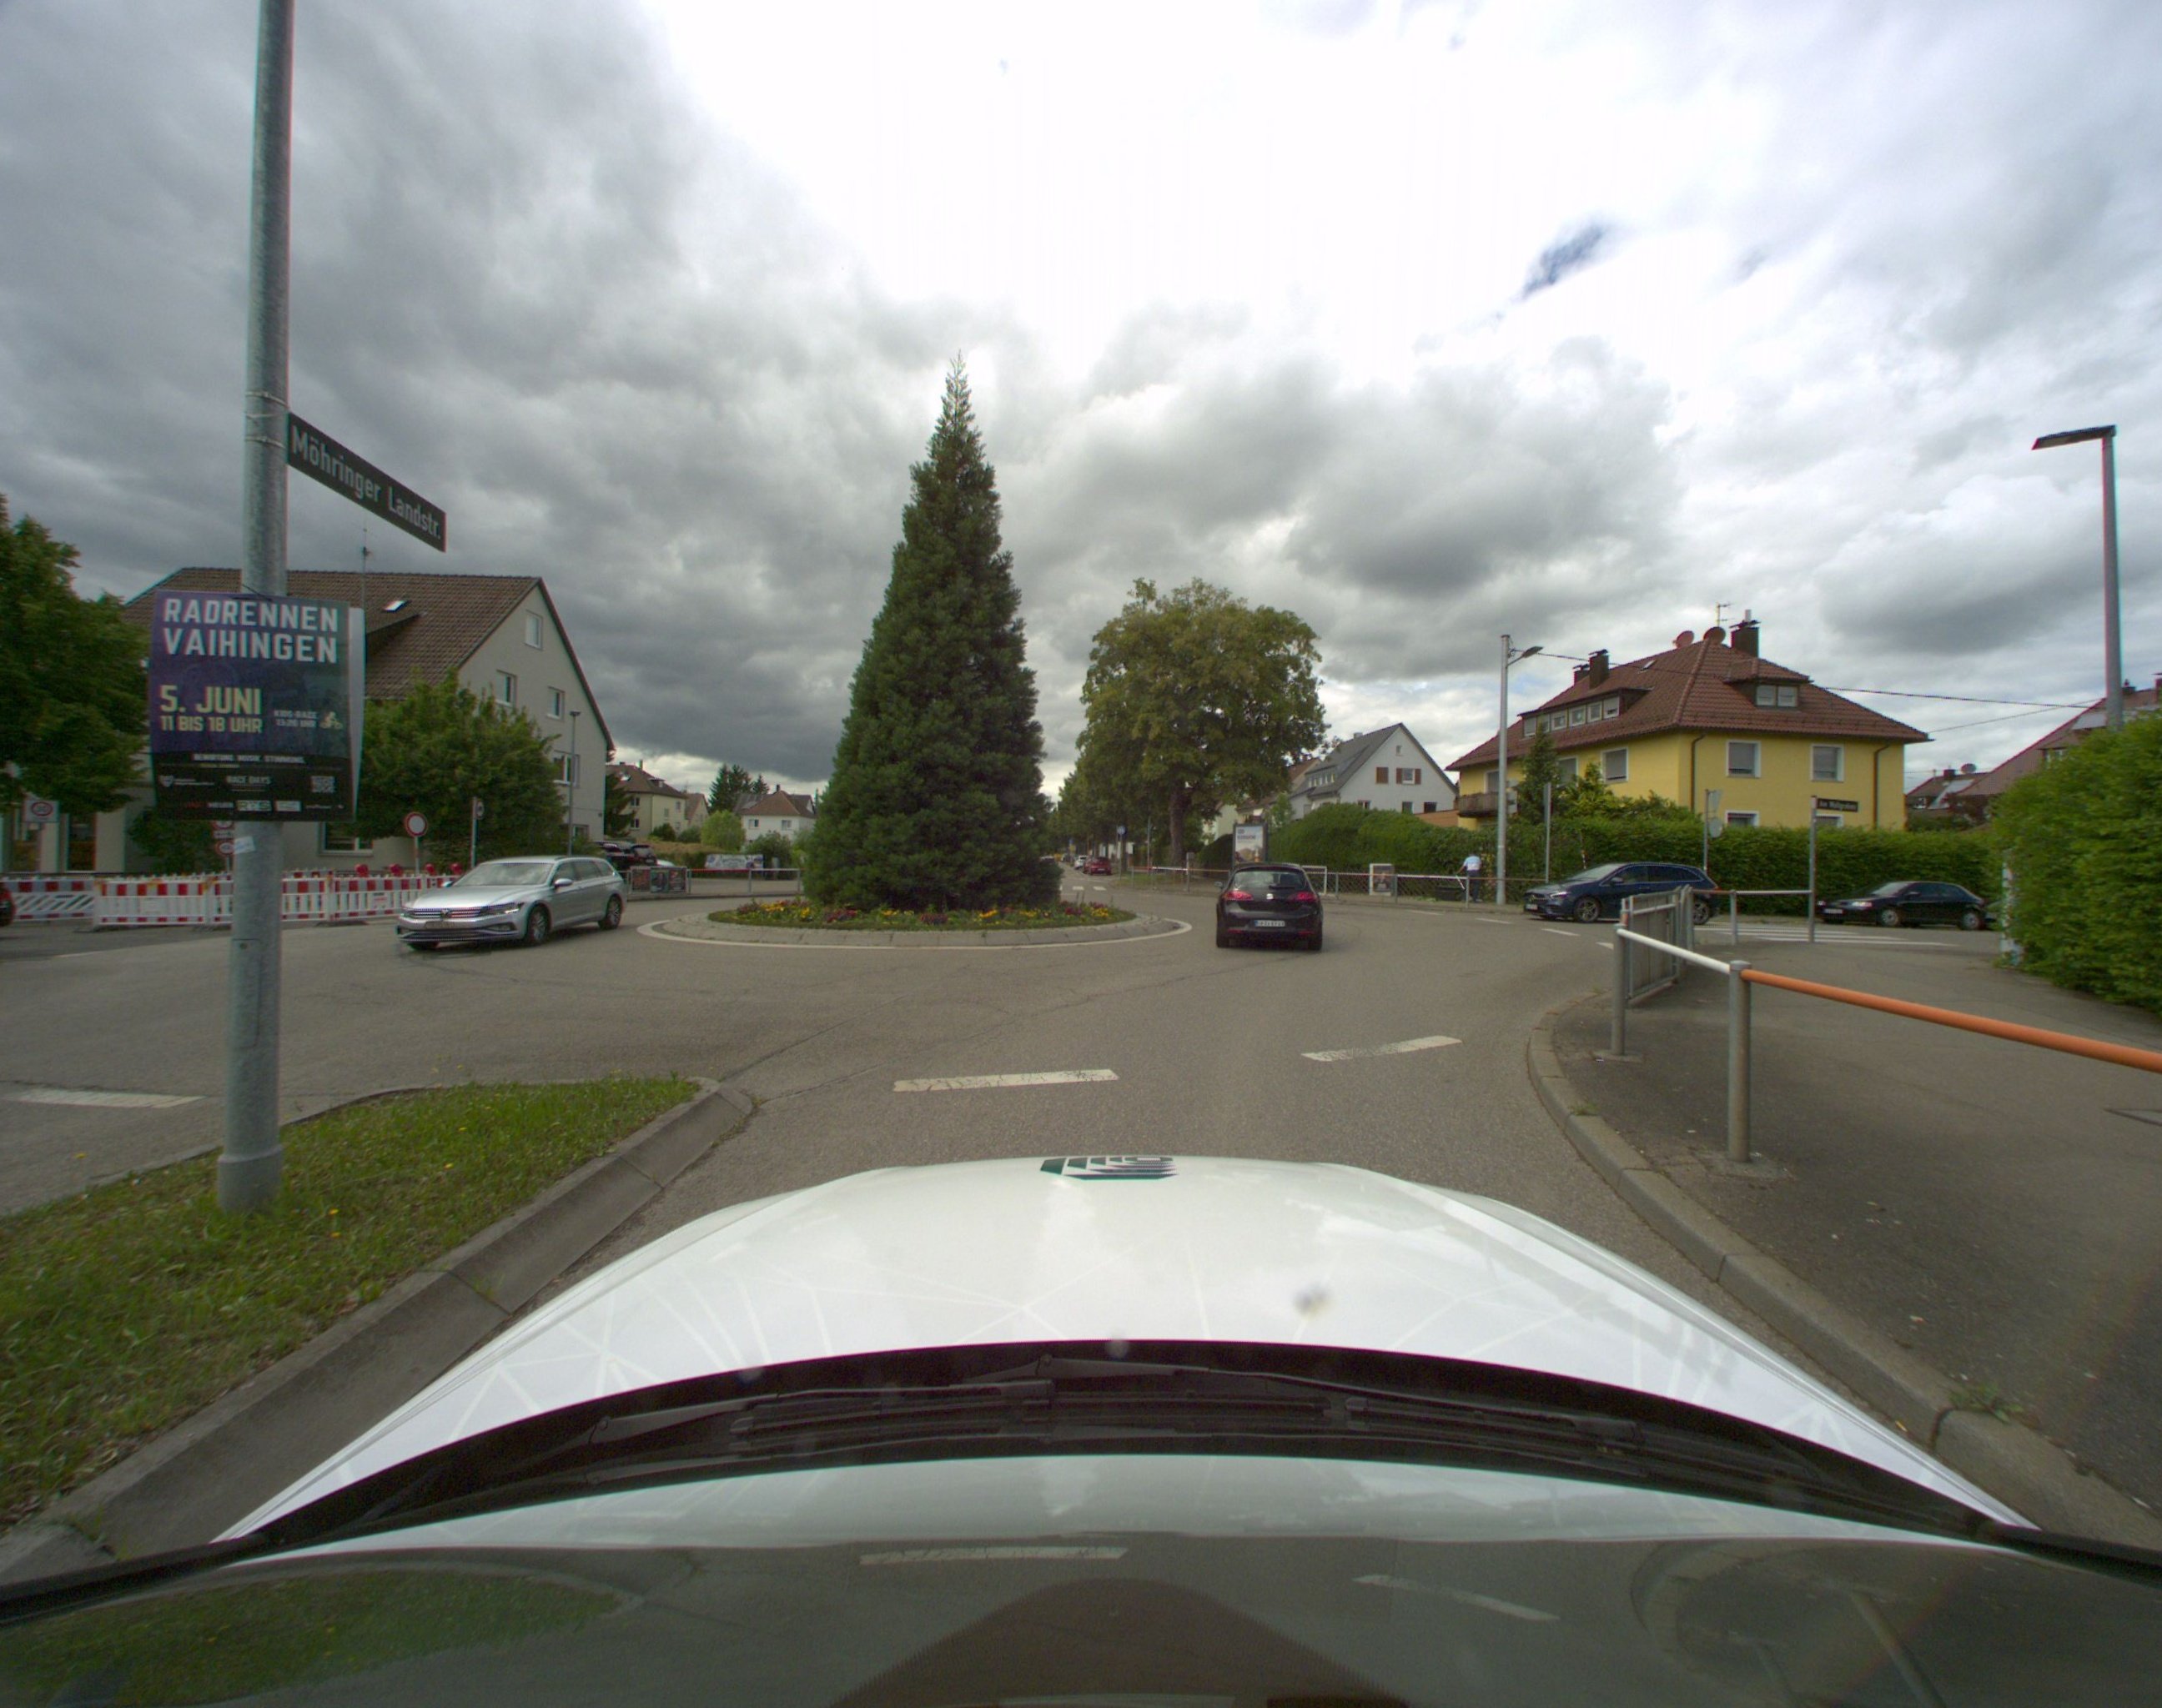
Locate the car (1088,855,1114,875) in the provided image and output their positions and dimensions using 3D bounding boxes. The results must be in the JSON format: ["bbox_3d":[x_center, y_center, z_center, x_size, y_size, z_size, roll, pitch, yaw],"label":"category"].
[{"bbox_3d":[1.538,0.832,63.657,1.474,1.489,3.371,0,0,-9],"label":"car"}]

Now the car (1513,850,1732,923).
[{"bbox_3d":[13.459,0.781,20.405,4.382,1.661,1.650,1,0,0],"label":"car"}]

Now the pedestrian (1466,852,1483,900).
[{"bbox_3d":[12.710,0.700,26.314,0.486,1.533,0.487,0,0,23],"label":"pedestrian"}]

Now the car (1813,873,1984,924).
[{"bbox_3d":[23.745,1.265,23.710,3.623,1.381,1.597,0,0,-6],"label":"car"}]

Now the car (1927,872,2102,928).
[{"bbox_3d":[27.574,1.326,24.111,3.583,1.550,1.650,0,0,-6],"label":"car"}]

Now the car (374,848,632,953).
[{"bbox_3d":[-9.839,0.697,14.364,1.867,1.560,4.250,0,0,-7],"label":"car"}]

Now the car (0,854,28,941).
[{"bbox_3d":[-22.275,0.820,14.984,3.600,1.634,1.572,0,0,-2],"label":"car"}]

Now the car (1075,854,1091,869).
[{"bbox_3d":[0.200,0.747,85.124,1.590,1.510,3.598,0,0,-1],"label":"car"}]

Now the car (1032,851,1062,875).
[{"bbox_3d":[-2.463,0.644,57.970,1.990,1.613,3.993,1,0,-5],"label":"car"}]

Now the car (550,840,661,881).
[{"bbox_3d":[-19.170,0.244,32.933,3.572,1.611,1.602,0,0,4],"label":"car"}]

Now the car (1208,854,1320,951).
[{"bbox_3d":[3.362,0.753,14.725,1.719,1.486,4.015,0,0,14],"label":"car"}]
